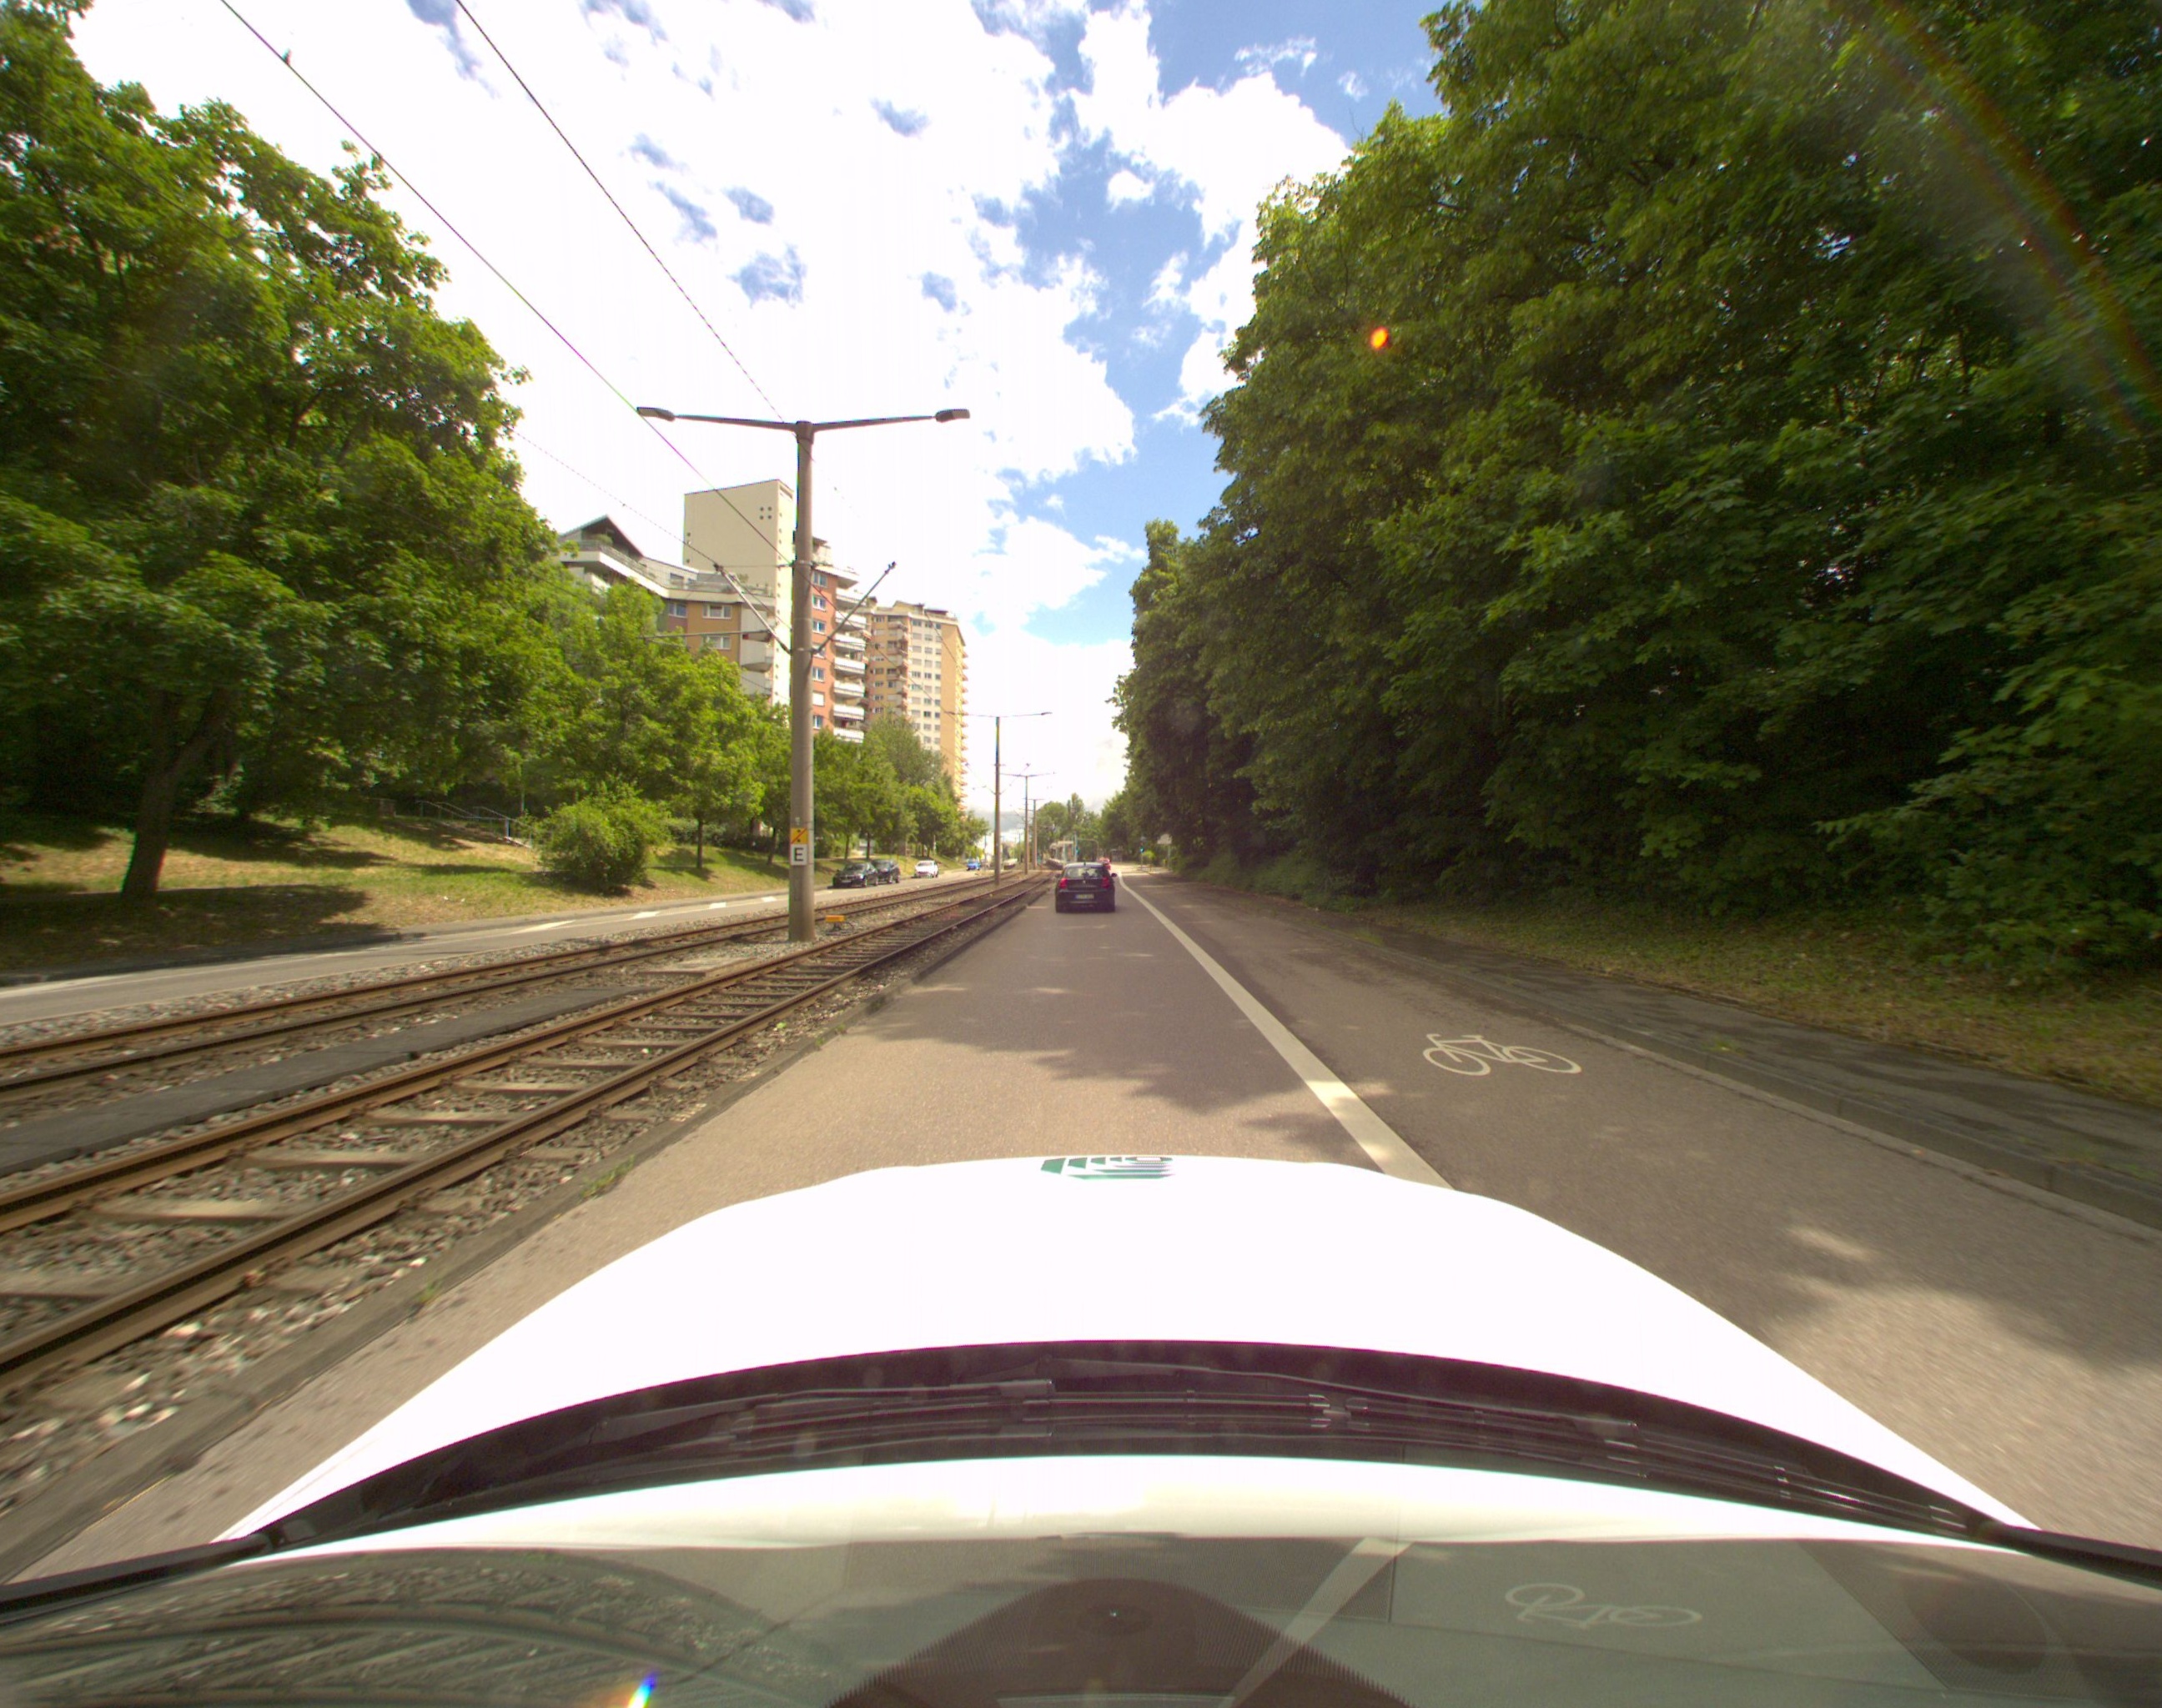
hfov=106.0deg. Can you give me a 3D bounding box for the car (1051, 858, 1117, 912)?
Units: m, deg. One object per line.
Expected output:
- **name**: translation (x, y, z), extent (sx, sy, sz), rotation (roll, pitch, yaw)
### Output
- **car**: translation (0.075, 0.869, 24.473), extent (1.776, 1.459, 3.920), rotation (-2, 0, 0)

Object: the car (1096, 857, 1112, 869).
- **car**: translation (2.856, 1.136, 101.770), extent (1.777, 1.460, 3.918), rotation (-1, -1, -2)

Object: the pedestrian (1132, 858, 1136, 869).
- **pedestrian**: translation (9.734, 1.658, 148.588), extent (0.737, 2.014, 0.682), rotation (-1, -1, 2)

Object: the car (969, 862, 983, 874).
- **car**: translation (-14.201, 1.870, 109.628), extent (1.715, 1.442, 3.929), rotation (-1, -1, -9)

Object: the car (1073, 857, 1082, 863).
- **car**: translation (-0.844, 1.385, 191.279), extent (1.906, 1.460, 3.996), rotation (-1, -1, -4)

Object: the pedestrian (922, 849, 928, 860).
- **pedestrian**: translation (-23.309, 0.080, 121.764), extent (0.628, 1.534, 0.637), rotation (-1, -1, 19)

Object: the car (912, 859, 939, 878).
- **car**: translation (-13.398, 1.214, 70.365), extent (1.778, 1.532, 4.238), rotation (-2, 0, -4)

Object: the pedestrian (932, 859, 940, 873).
- **pedestrian**: translation (-16.126, 1.352, 90.731), extent (0.770, 1.534, 0.713), rotation (-1, -1, -18)

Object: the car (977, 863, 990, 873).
- **car**: translation (-15.735, 2.260, 131.709), extent (1.711, 1.564, 3.694), rotation (-1, -1, -2)

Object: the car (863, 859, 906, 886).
- **car**: translation (-12.792, 1.225, 53.174), extent (1.769, 1.630, 4.380), rotation (-1, -1, -1)

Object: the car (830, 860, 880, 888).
- **car**: translation (-12.877, 1.105, 46.580), extent (1.769, 1.498, 3.995), rotation (-1, -1, -1)
